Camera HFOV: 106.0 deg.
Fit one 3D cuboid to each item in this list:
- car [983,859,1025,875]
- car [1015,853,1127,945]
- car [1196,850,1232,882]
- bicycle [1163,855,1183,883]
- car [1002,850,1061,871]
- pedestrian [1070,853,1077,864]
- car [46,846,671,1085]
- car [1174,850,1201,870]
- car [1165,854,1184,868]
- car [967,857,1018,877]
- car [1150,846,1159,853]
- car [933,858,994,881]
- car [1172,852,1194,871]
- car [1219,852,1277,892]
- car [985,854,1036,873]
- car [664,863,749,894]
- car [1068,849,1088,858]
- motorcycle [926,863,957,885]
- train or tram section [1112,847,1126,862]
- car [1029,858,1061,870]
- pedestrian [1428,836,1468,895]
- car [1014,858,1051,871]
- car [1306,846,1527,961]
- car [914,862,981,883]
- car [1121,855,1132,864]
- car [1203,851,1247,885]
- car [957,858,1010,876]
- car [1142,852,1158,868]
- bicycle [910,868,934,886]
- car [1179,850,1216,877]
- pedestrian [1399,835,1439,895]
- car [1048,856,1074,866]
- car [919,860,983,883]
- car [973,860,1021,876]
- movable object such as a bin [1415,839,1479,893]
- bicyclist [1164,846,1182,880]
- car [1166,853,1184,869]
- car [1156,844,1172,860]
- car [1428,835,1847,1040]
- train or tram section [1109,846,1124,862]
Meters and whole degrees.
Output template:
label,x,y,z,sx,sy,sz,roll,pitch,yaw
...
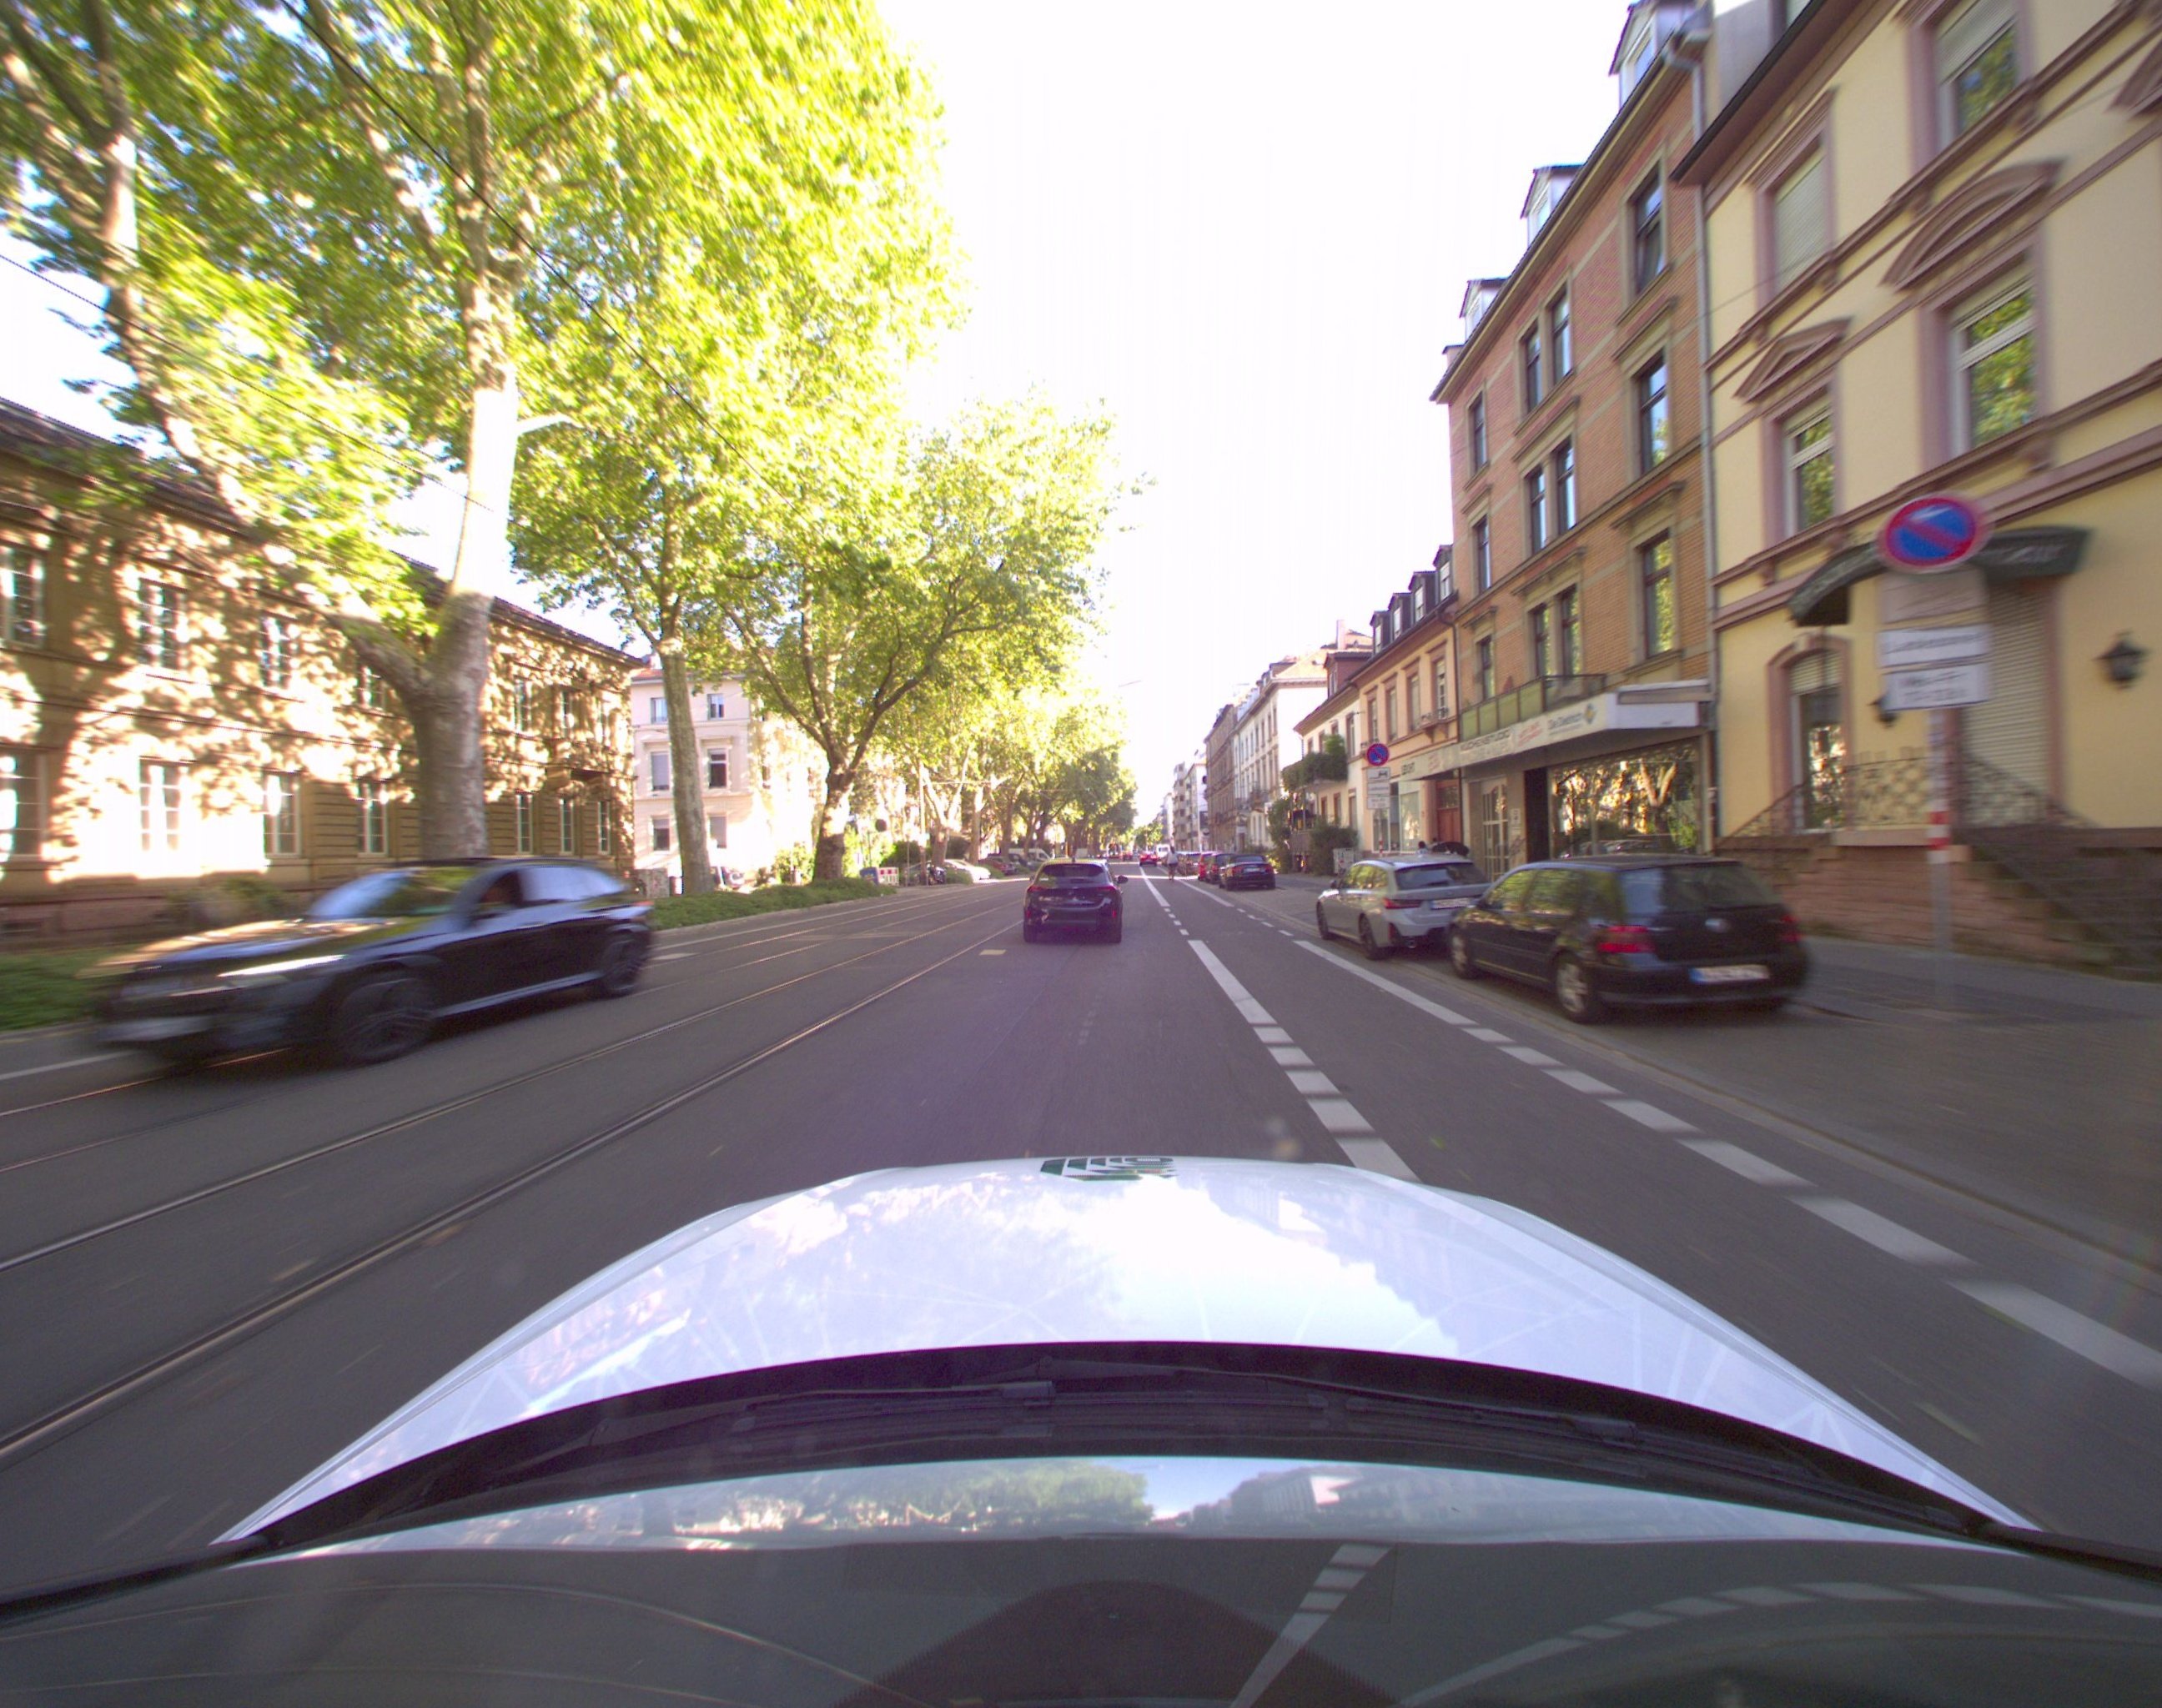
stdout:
label,x,y,z,sx,sy,sz,roll,pitch,yaw
car,-7.294,1.182,77.190,3.718,1.498,1.748,0,-1,3
car,-0.070,0.737,15.152,1.786,1.441,3.535,-1,1,4
car,7.136,0.626,43.922,1.627,1.546,3.581,-3,0,5
bicycle,4.827,0.753,42.760,0.857,1.407,2.526,-1,0,3
car,-5.790,0.722,95.181,6.598,2.409,2.460,0,-1,4
pedestrian,-1.061,0.654,113.969,0.769,1.567,0.676,-1,-1,-20
car,-6.266,0.775,8.031,1.858,1.629,4.565,-2,0,4
car,8.420,0.471,64.795,1.871,1.456,4.031,-5,-1,5
car,10.165,0.743,88.773,1.801,1.338,3.938,-5,-1,5
car,-7.386,1.105,68.269,3.977,1.627,1.881,0,-1,3
car,15.523,-0.866,172.547,1.801,1.338,3.938,-5,-1,5
car,-8.276,1.090,57.493,3.902,1.462,1.807,-2,-1,4
car,8.826,0.617,70.671,1.702,1.483,3.769,-5,-1,5
car,6.523,0.660,32.196,1.686,1.392,4.501,-3,0,5
car,-6.926,0.921,79.971,4.653,1.924,1.983,0,-1,5
car,-20.378,1.315,44.451,3.759,1.418,1.697,-2,2,4
car,-0.574,-0.145,156.554,3.906,1.790,1.677,0,-1,1
motorcycle,-7.919,1.133,46.321,0.878,1.147,2.398,-1,0,12
train or tram section,9.704,0.075,206.890,2.722,3.682,12.733,-2,0,5
car,-4.512,1.238,101.752,3.906,1.498,1.677,0,-1,1
pedestrian,9.477,0.291,21.052,0.655,1.483,0.786,-1,0,3
car,-5.338,1.159,89.554,3.901,1.498,1.679,0,-1,5
car,5.036,0.661,13.022,1.802,1.435,4.669,-3,0,3
car,-8.526,1.158,52.113,3.902,1.332,1.850,0,0,4
car,7.712,0.918,137.422,1.802,1.338,3.936,-1,0,3
car,6.912,0.653,39.325,1.643,1.456,3.872,-3,0,4
car,-7.873,1.070,65.968,3.902,1.442,1.751,0,-1,4
car,7.913,0.697,93.213,1.801,1.742,3.938,-2,0,5
bicycle,-9.029,1.291,46.289,0.537,0.940,2.040,-1,0,12
car,7.904,0.651,55.399,1.874,1.586,3.933,-5,-1,1
pedestrian,8.732,0.284,21.076,0.657,1.505,0.867,-3,-1,3
car,-3.078,1.049,126.065,3.906,1.498,1.677,0,-1,1
car,-8.737,1.182,54.762,3.904,1.453,1.802,-1,-1,3
car,-7.226,1.206,70.670,3.905,1.421,1.819,0,0,2
movable object such as a bin,10.566,0.340,23.583,1.288,1.520,1.287,-1,0,4
bicyclist,4.815,0.459,42.810,0.844,1.740,1.163,-1,0,3
car,9.810,0.713,84.479,1.696,1.456,3.704,-5,-1,7
car,12.431,-0.306,122.031,2.066,2.219,4.940,-5,-1,5
car,5.075,0.647,8.209,1.637,1.434,4.035,-5,-1,5
train or tram section,8.550,0.055,194.226,2.722,3.682,12.733,-2,0,5
